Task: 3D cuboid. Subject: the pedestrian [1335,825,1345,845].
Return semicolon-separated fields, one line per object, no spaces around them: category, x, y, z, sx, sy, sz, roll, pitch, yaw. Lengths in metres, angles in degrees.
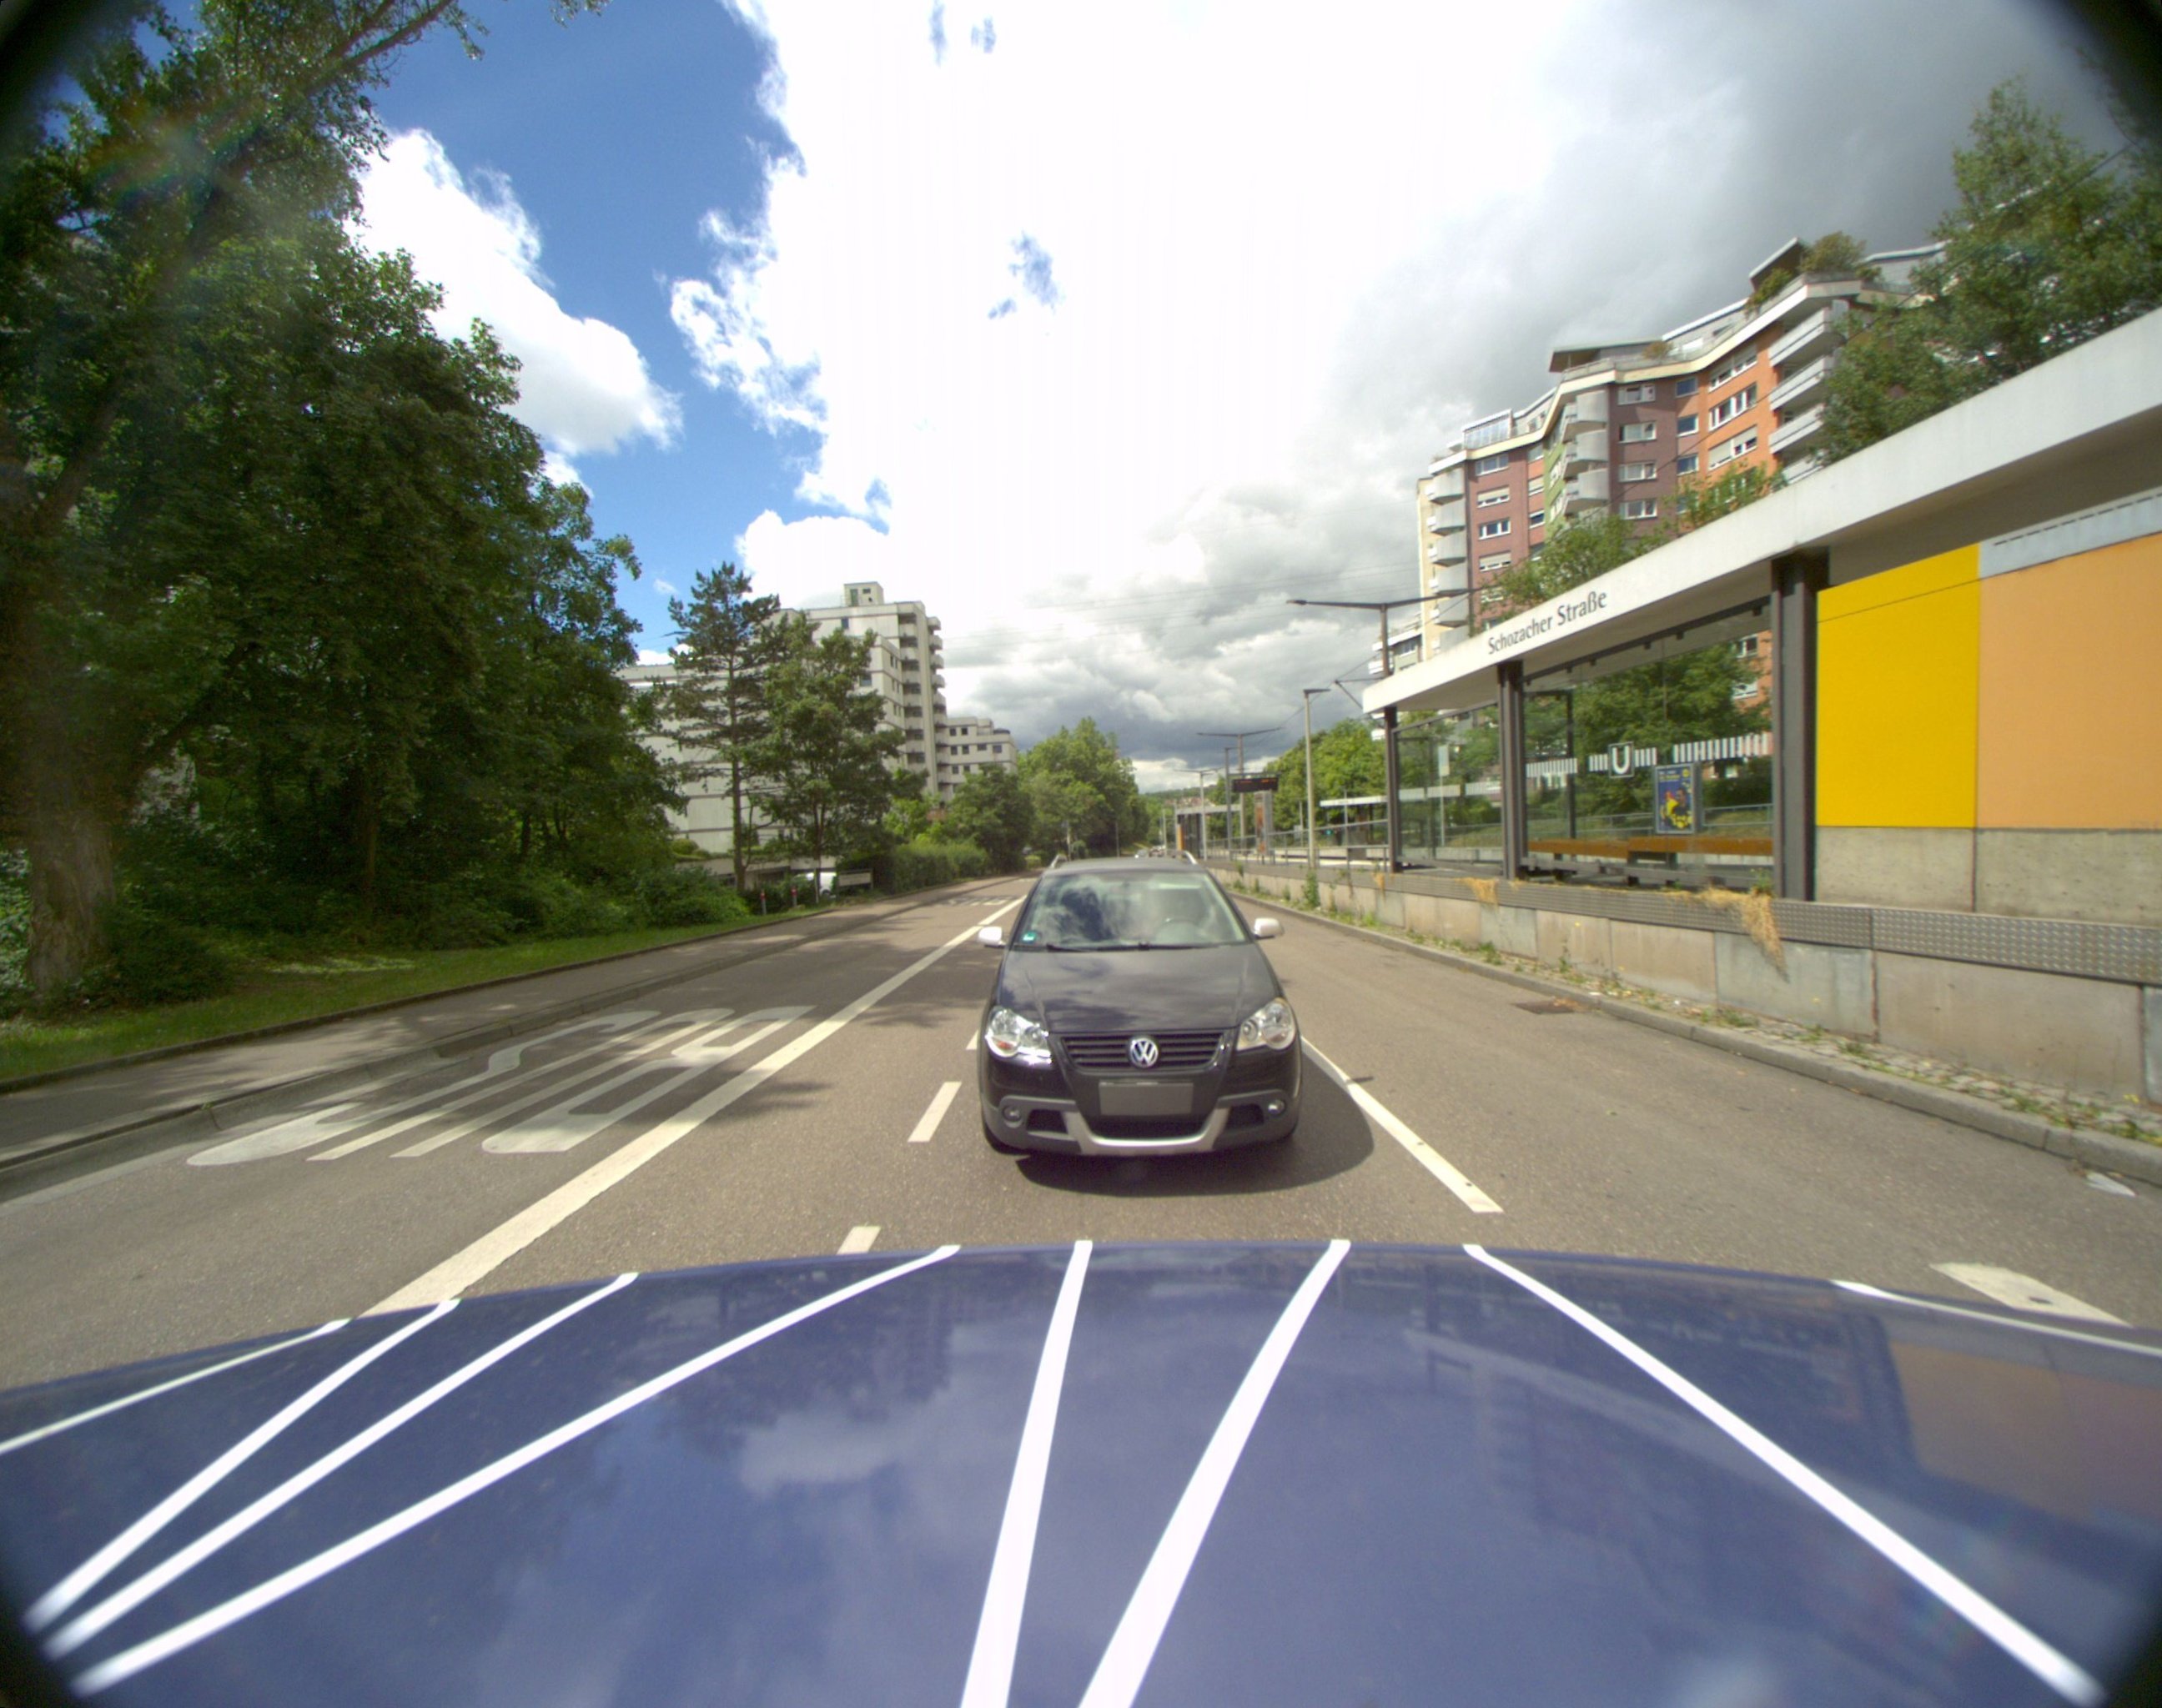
pedestrian;16.242;-1.186;47.609;0.536;1.270;0.562;-2;1;15

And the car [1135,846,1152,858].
car;7.624;-0.220;93.312;1.821;1.377;4.065;-2;1;2

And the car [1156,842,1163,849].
car;21.999;-2.429;213.103;1.801;1.698;4.001;-3;1;6

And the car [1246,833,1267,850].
car;22.155;-1.589;96.149;1.737;2.002;4.000;-2;1;2

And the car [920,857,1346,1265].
car;0.297;0.849;5.032;1.641;1.521;4.000;-2;1;3

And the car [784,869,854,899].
car;-19.890;2.238;57.804;4.543;2.002;2.001;-2;1;7

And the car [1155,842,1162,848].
car;18.290;-2.066;179.155;1.643;1.395;3.708;-2;1;4

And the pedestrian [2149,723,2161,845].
pedestrian;15.293;-0.987;10.595;0.354;1.703;0.426;-3;2;-41
